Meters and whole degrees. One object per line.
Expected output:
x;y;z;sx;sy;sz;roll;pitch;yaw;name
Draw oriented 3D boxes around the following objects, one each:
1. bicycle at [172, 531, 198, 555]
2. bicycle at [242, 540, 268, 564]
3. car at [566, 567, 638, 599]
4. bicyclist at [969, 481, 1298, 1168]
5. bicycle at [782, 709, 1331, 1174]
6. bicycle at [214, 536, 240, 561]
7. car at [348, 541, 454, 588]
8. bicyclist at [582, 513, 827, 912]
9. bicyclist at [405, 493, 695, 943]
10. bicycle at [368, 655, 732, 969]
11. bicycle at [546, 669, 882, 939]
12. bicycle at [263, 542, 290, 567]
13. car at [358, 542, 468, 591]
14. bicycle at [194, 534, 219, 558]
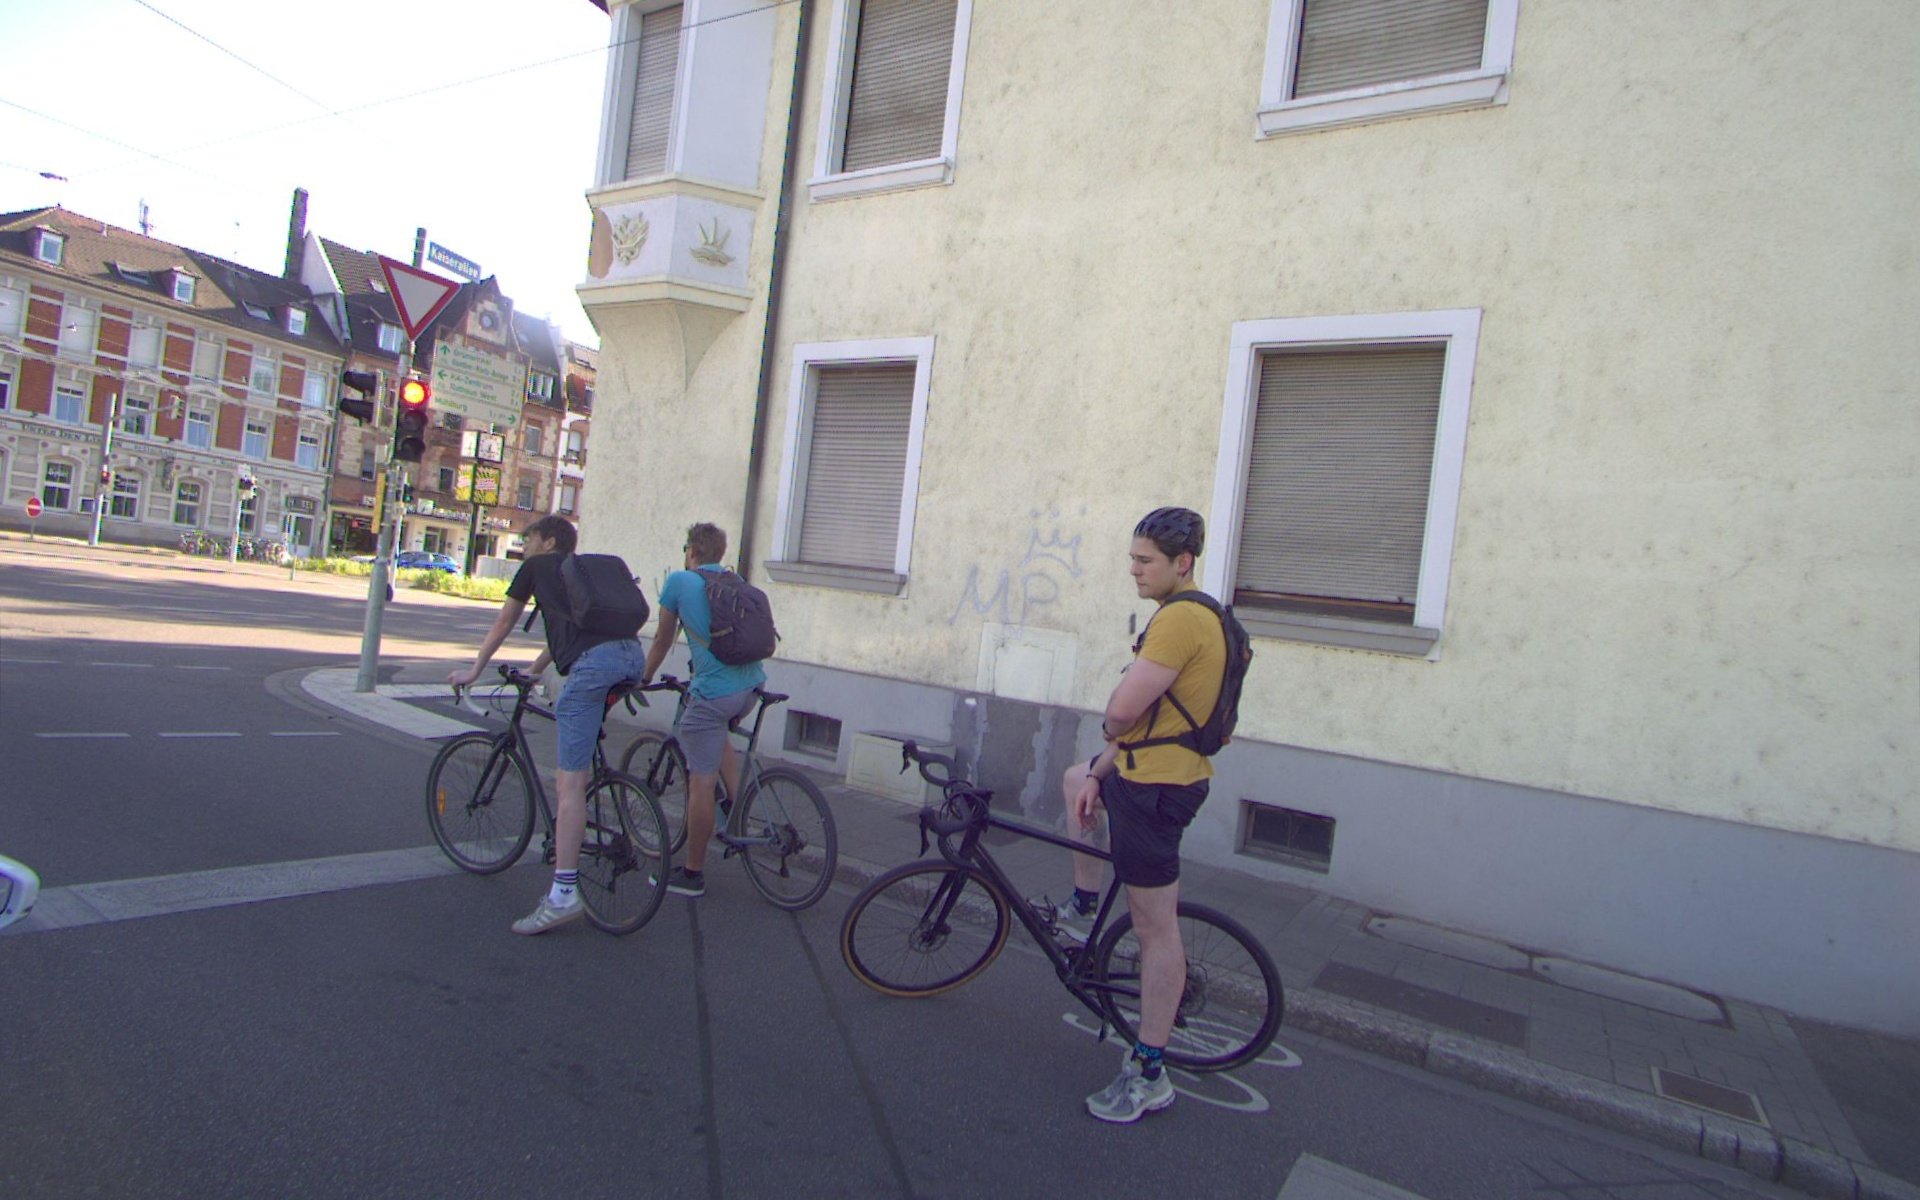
-35.354;-2.605;45.869;0.762;0.974;2.186;8;-2;-39;bicycle
-33.600;-2.302;47.954;0.762;1.019;2.196;8;-2;-39;bicycle
-23.135;-1.085;65.141;1.842;1.454;3.985;6;-2;35;car
0.634;0.678;3.478;0.763;1.990;0.783;7;0;18;bicyclist
0.363;1.102;3.679;1.709;1.119;0.783;7;-1;18;bicycle
-34.255;-2.413;47.015;0.762;0.995;2.186;8;-2;-39;bicycle
-26.962;-1.677;48.660;1.775;1.641;3.994;6;-2;33;car
-1.341;0.538;5.263;0.960;1.868;0.504;6;-1;32;bicyclist
-1.849;0.477;4.547;0.920;1.787;0.590;6;-1;32;bicyclist
-1.898;0.865;4.544;1.753;1.003;0.482;6;-1;32;bicycle
-1.313;0.975;5.211;1.753;0.995;0.504;6;-1;32;bicycle
-33.051;-2.202;48.661;0.789;1.027;2.186;8;-2;-39;bicycle
-25.431;-1.544;46.882;1.775;1.641;3.994;6;-2;33;car
-34.752;-2.504;46.393;0.762;0.979;2.186;8;-2;-39;bicycle
